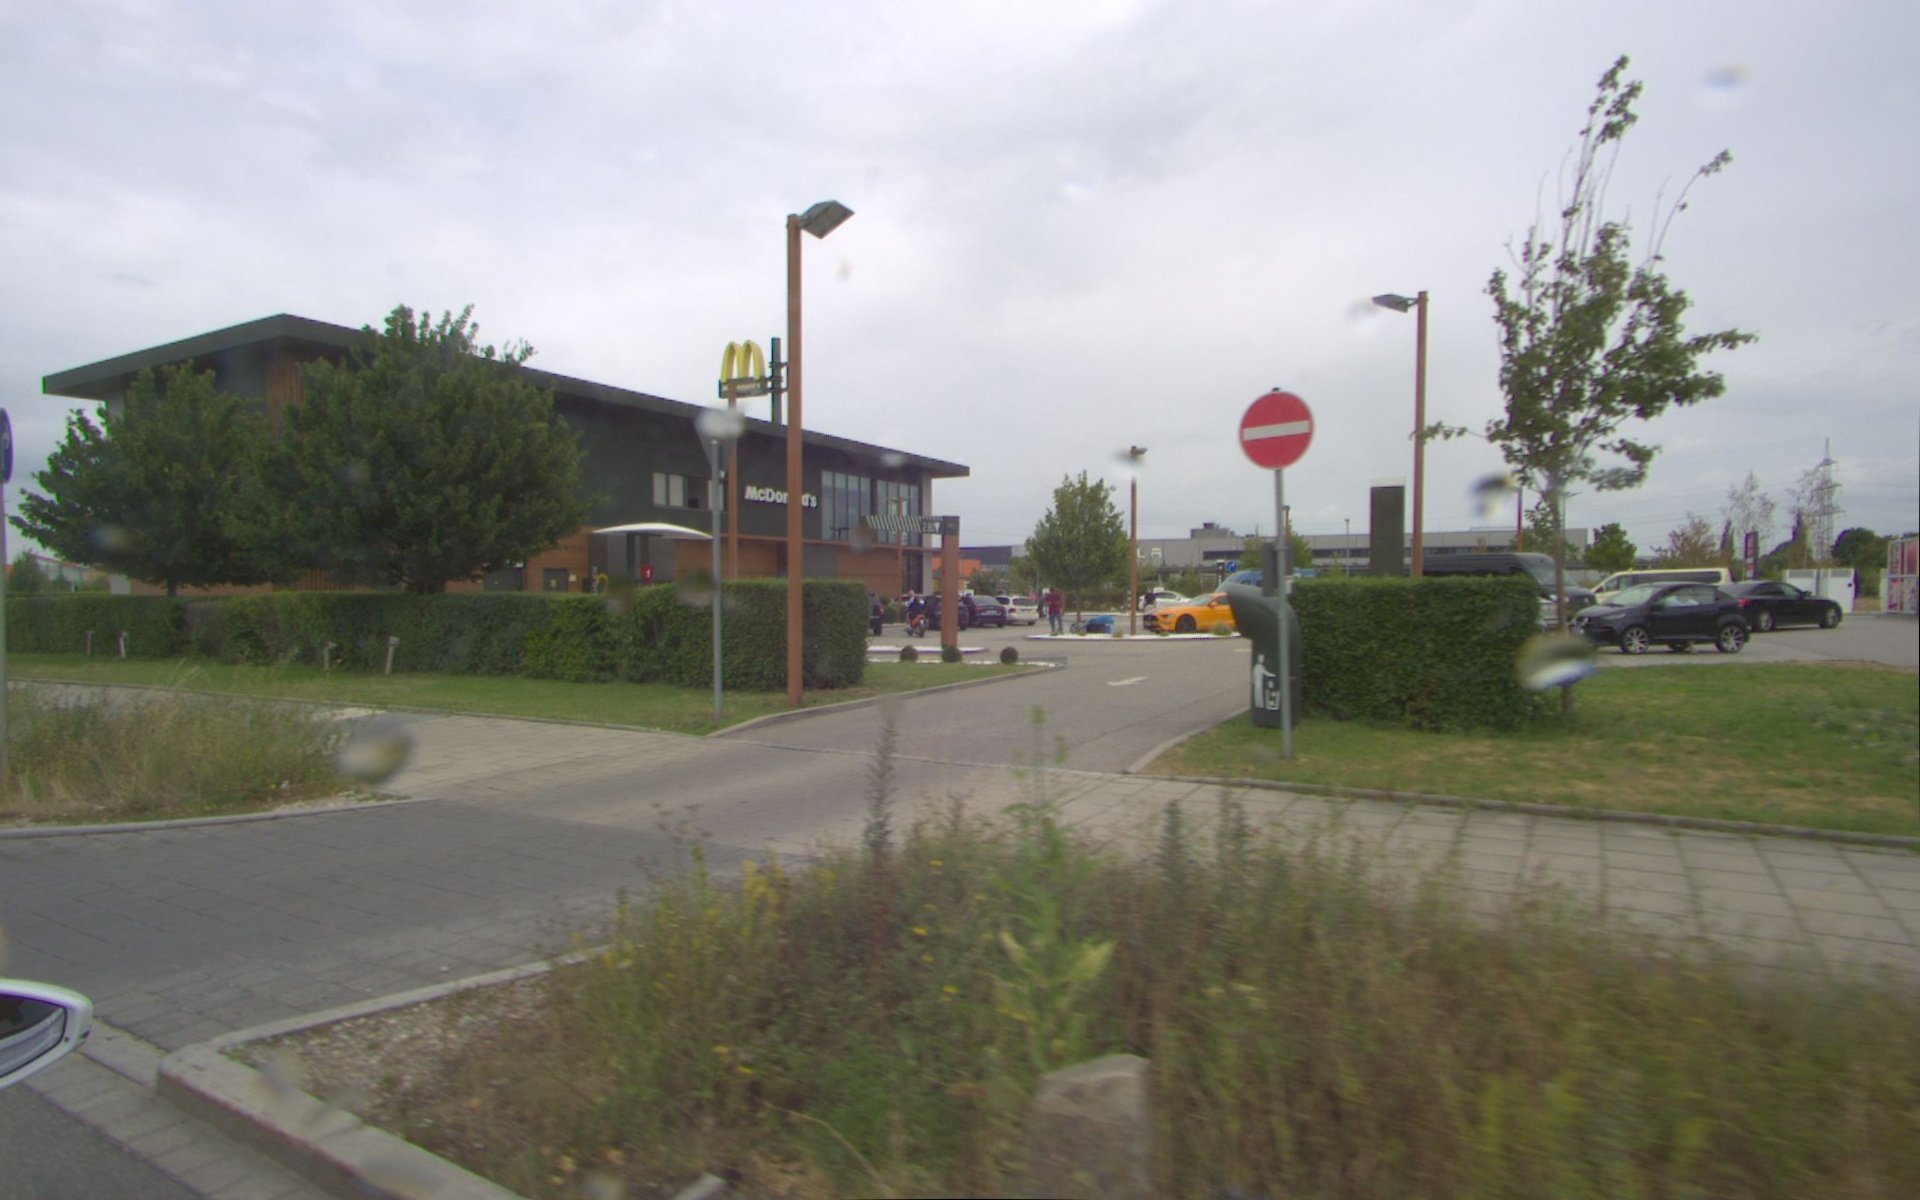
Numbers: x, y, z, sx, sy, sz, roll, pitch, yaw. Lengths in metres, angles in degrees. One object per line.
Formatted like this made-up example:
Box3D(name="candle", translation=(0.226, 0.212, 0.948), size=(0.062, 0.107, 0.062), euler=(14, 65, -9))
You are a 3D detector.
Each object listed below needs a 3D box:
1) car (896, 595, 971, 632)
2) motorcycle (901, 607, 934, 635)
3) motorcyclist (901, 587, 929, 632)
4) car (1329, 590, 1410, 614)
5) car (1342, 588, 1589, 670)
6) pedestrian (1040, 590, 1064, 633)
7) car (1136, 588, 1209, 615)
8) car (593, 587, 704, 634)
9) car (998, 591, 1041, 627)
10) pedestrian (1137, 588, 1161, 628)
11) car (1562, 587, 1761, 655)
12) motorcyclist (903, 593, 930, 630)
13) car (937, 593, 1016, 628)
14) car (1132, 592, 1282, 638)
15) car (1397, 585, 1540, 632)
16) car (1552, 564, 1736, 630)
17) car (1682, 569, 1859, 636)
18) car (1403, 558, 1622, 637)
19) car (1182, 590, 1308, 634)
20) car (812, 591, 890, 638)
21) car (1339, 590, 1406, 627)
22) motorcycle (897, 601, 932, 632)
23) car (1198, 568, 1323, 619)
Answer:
Box3D(name="car", translation=(-1.214, 0.583, 44.147), size=(1.763, 1.517, 3.981), euler=(0, 0, -28))
Box3D(name="motorcycle", translation=(-1.629, 0.776, 37.875), size=(0.728, 0.998, 1.819), euler=(-1, 0, -20))
Box3D(name="motorcyclist", translation=(-1.870, 0.387, 41.521), size=(0.948, 1.856, 0.842), euler=(0, 0, -23))
Box3D(name="car", translation=(26.195, 0.153, 64.031), size=(4.578, 1.463, 1.946), euler=(0, 0, 32))
Box3D(name="car", translation=(9.077, 0.456, 18.347), size=(1.787, 1.330, 3.837), euler=(0, 1, -22))
Box3D(name="pedestrian", translation=(3.119, 0.381, 33.928), size=(0.755, 1.458, 0.624), euler=(0, 1, -2))
Box3D(name="car", translation=(14.990, 0.112, 70.581), size=(4.690, 1.803, 1.948), euler=(0, 0, 29))
Box3D(name="car", translation=(-12.213, 0.400, 39.479), size=(1.969, 1.739, 3.983), euler=(0, 0, 29))
Box3D(name="car", translation=(3.060, 0.447, 50.562), size=(1.961, 1.745, 3.999), euler=(0, 0, 6))
Box3D(name="pedestrian", translation=(7.971, 0.341, 42.217), size=(0.673, 1.649, 0.739), euler=(0, 0, -23))
Box3D(name="car", translation=(14.217, 0.424, 20.380), size=(3.030, 1.326, 1.525), euler=(0, 0, -4))
Box3D(name="motorcyclist", translation=(-1.650, 0.425, 37.920), size=(0.768, 1.352, 0.894), euler=(-1, 1, -20))
Box3D(name="car", translation=(0.706, 0.491, 47.052), size=(1.971, 1.602, 3.979), euler=(0, 0, -30))
Box3D(name="car", translation=(8.437, 0.492, 34.225), size=(4.651, 1.463, 1.995), euler=(-1, 0, -18))
Box3D(name="car", translation=(17.048, 0.259, 33.818), size=(1.922, 1.462, 4.209), euler=(-1, 0, -18))
Box3D(name="car", translation=(26.550, -0.133, 39.010), size=(5.630, 2.382, 2.513), euler=(0, 1, 44))
Box3D(name="car", translation=(23.514, 0.045, 29.071), size=(4.300, 1.726, 2.001), euler=(-2, 1, -18))
Box3D(name="car", translation=(19.539, -0.103, 36.032), size=(2.242, 2.535, 7.309), euler=(0, 1, -19))
Box3D(name="car", translation=(11.548, 0.442, 40.556), size=(4.653, 1.678, 1.994), euler=(-1, 0, -21))
Box3D(name="car", translation=(-4.330, 0.558, 39.044), size=(2.087, 1.739, 4.219), euler=(0, 0, -20))
Box3D(name="car", translation=(17.209, 0.330, 41.659), size=(1.928, 1.463, 4.196), euler=(0, 0, 32))
Box3D(name="motorcycle", translation=(-1.906, 0.678, 41.601), size=(0.845, 1.261, 1.960), euler=(0, 0, -23))
Box3D(name="car", translation=(15.662, -0.336, 52.314), size=(5.934, 2.562, 2.279), euler=(0, 1, -12))
